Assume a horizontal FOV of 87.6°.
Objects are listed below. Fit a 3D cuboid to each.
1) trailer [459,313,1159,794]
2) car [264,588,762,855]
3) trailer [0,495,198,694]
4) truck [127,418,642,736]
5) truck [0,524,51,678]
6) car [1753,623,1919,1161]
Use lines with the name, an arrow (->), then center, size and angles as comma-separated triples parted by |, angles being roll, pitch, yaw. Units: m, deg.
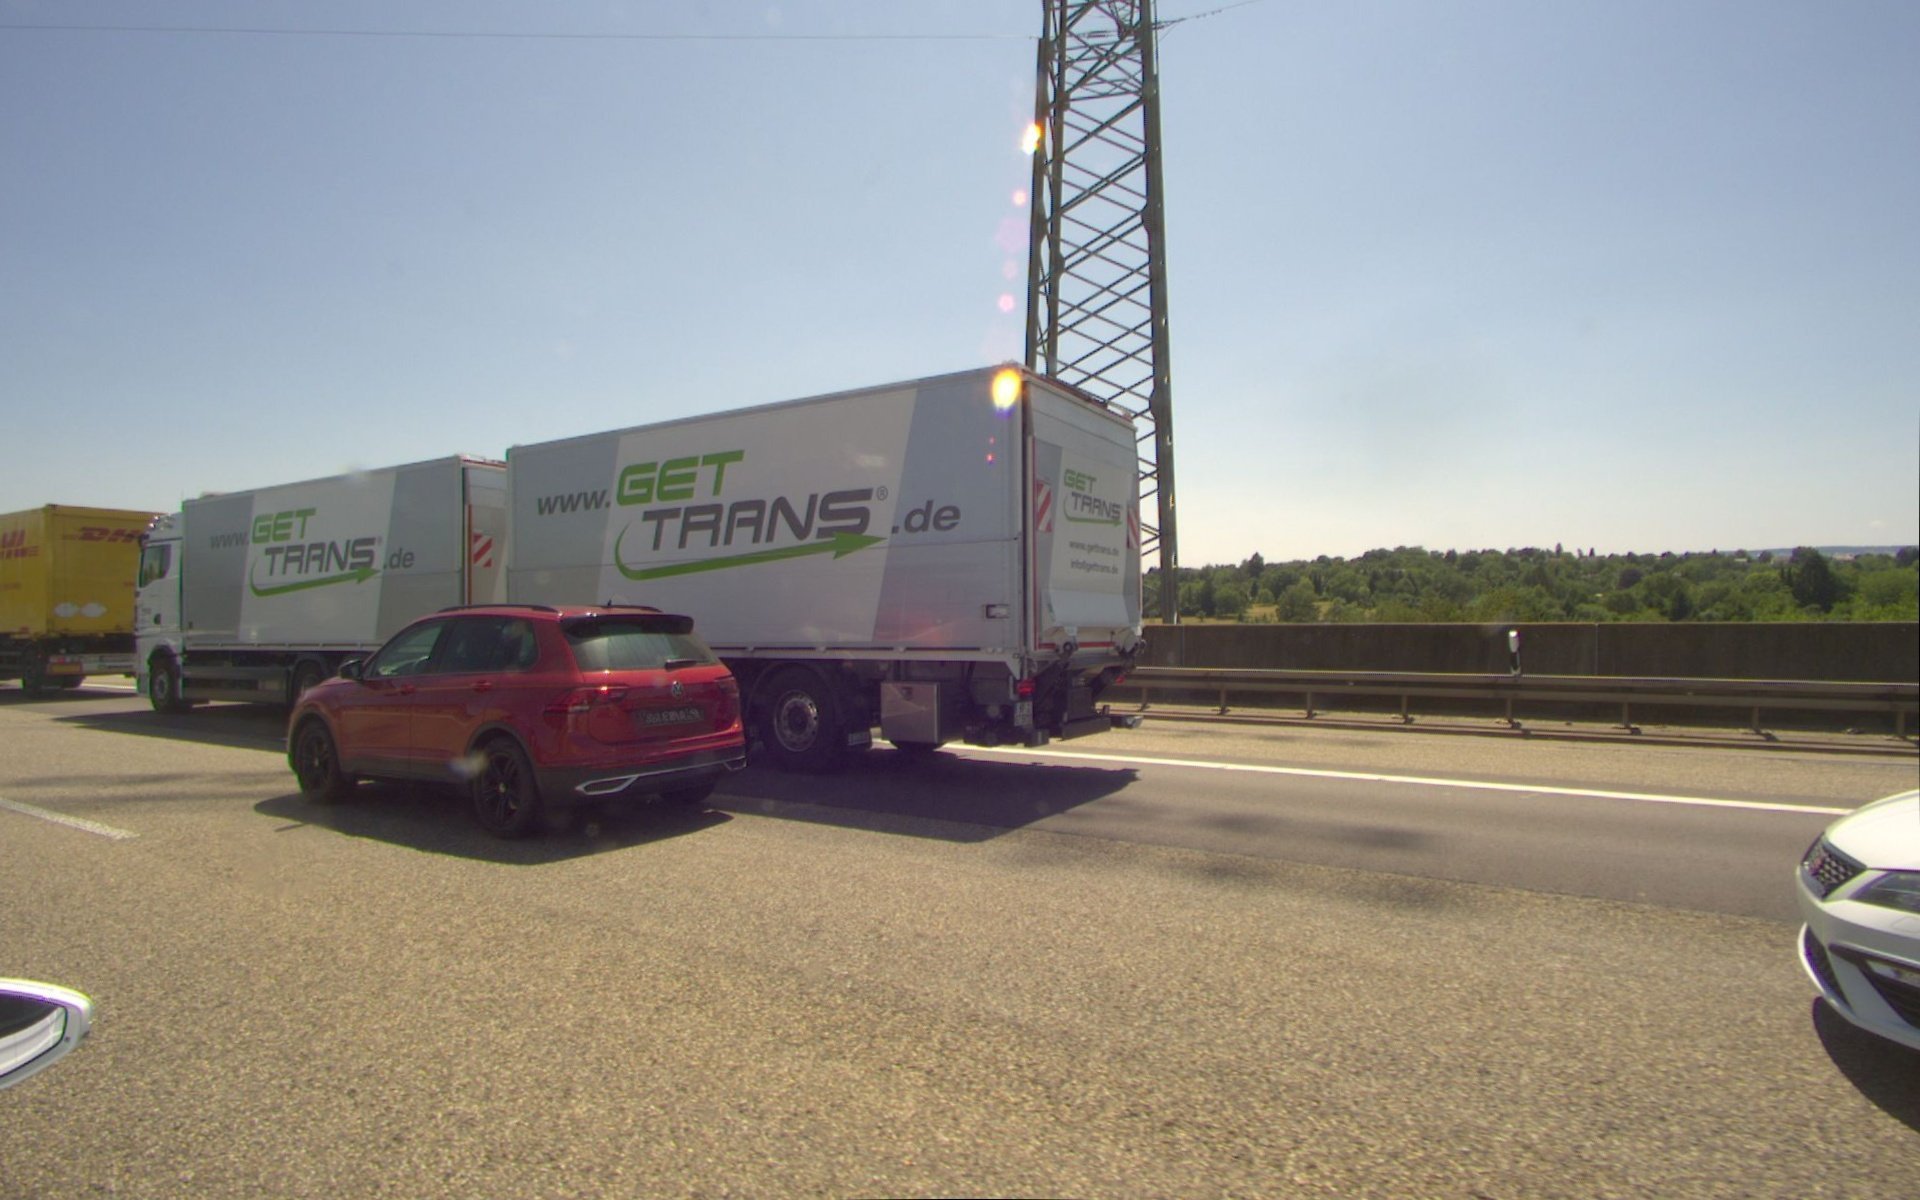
trailer -> -2.077, -0.246, 11.586 | 8.098, 3.940, 2.894 | -2, -2, 32
car -> -3.785, 0.841, 8.245 | 4.224, 1.700, 1.705 | -2, -1, 33
trailer -> -22.102, 0.025, 24.302 | 8.850, 4.139, 2.679 | -2, -2, 31
truck -> -9.900, -0.122, 16.536 | 10.459, 3.984, 2.847 | -2, -2, 32
truck -> -30.083, 0.131, 29.189 | 9.797, 4.139, 2.695 | -2, -2, 32
car -> 4.796, 0.803, 2.386 | 4.365, 1.470, 1.706 | -1, -2, 32
